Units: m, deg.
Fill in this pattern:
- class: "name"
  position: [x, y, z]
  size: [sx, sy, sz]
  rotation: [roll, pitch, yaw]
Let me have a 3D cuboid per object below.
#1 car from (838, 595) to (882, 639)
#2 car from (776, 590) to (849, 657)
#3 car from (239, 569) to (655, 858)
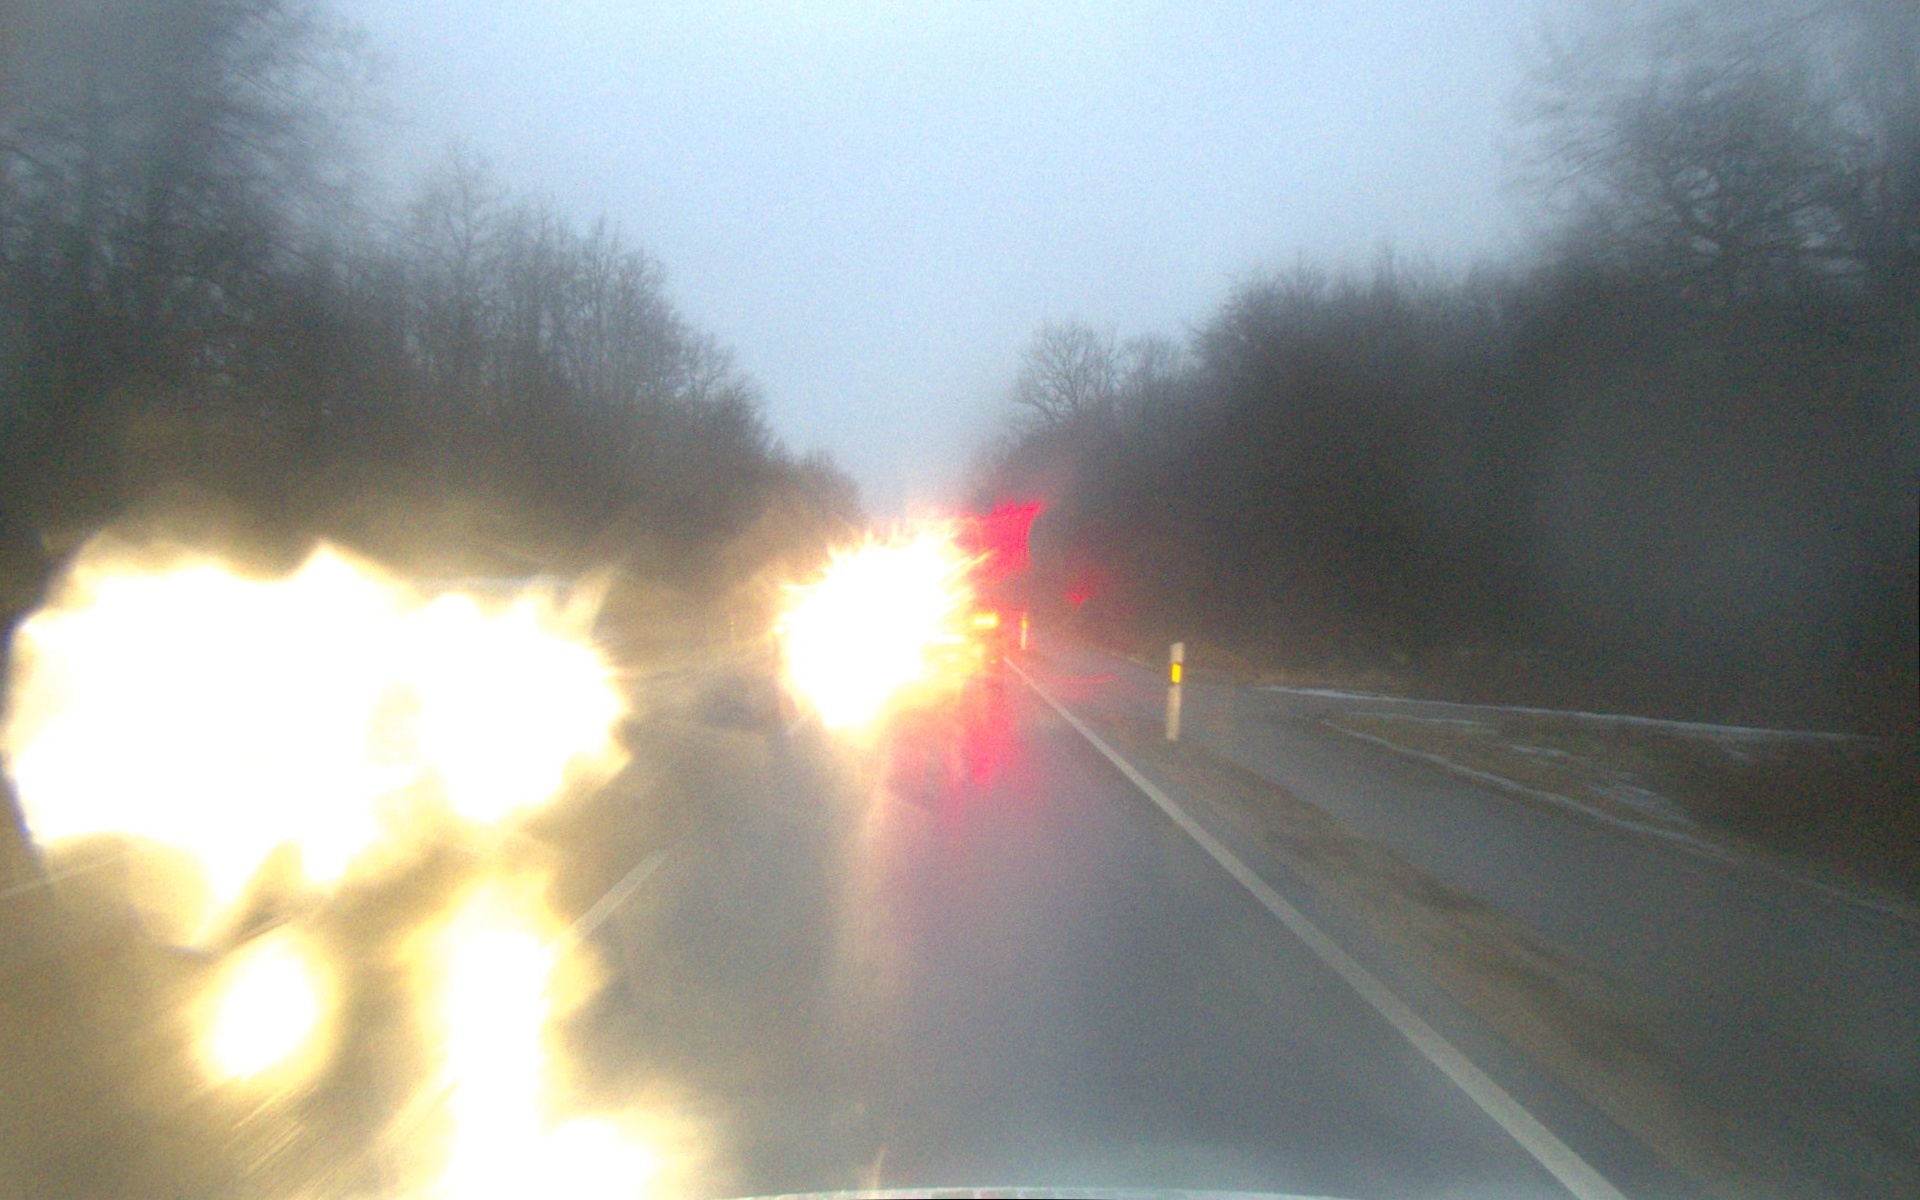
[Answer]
- class: "car"
  position: [-4.388, 0.722, 72.993]
  size: [1.671, 1.854, 4.284]
  rotation: [-1, 0, -1]
- class: "car"
  position: [-3.712, 0.574, 42.145]
  size: [1.549, 1.577, 3.999]
  rotation: [-2, 0, -1]
- class: "car"
  position: [-3.348, 0.661, 11.609]
  size: [1.706, 1.664, 3.999]
  rotation: [0, 0, -1]
